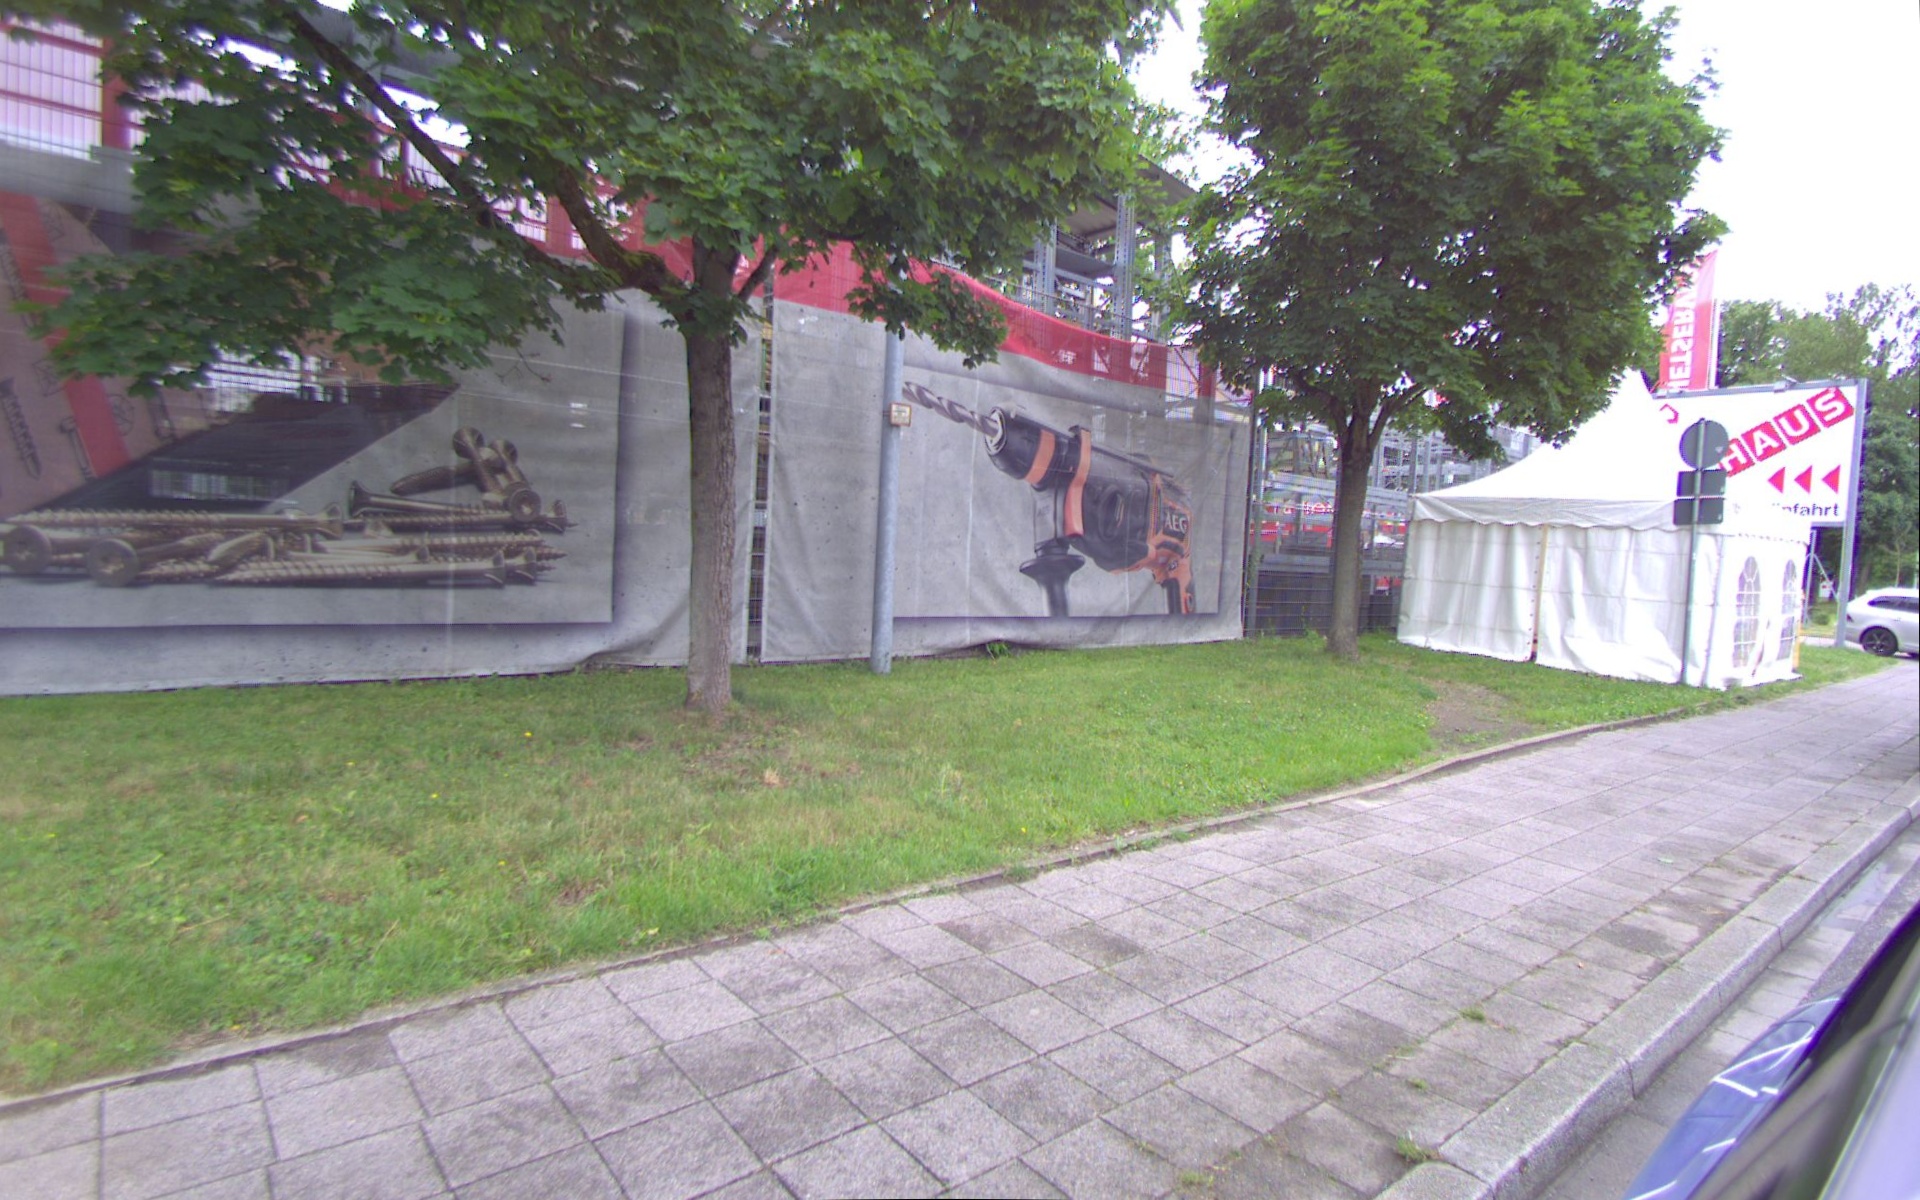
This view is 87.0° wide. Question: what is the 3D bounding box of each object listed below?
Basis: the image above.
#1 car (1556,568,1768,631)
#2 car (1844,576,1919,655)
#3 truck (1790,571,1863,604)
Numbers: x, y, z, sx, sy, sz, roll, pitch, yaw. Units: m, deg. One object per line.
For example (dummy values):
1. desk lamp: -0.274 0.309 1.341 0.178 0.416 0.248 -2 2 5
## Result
1. car: 19.590 -0.092 28.433 1.904 1.445 4.494 -1 4 -37
2. car: 21.019 0.382 20.913 1.739 1.603 3.699 1 2 -21
3. truck: 69.771 -1.022 81.497 3.924 2.425 2.001 3 3 0
